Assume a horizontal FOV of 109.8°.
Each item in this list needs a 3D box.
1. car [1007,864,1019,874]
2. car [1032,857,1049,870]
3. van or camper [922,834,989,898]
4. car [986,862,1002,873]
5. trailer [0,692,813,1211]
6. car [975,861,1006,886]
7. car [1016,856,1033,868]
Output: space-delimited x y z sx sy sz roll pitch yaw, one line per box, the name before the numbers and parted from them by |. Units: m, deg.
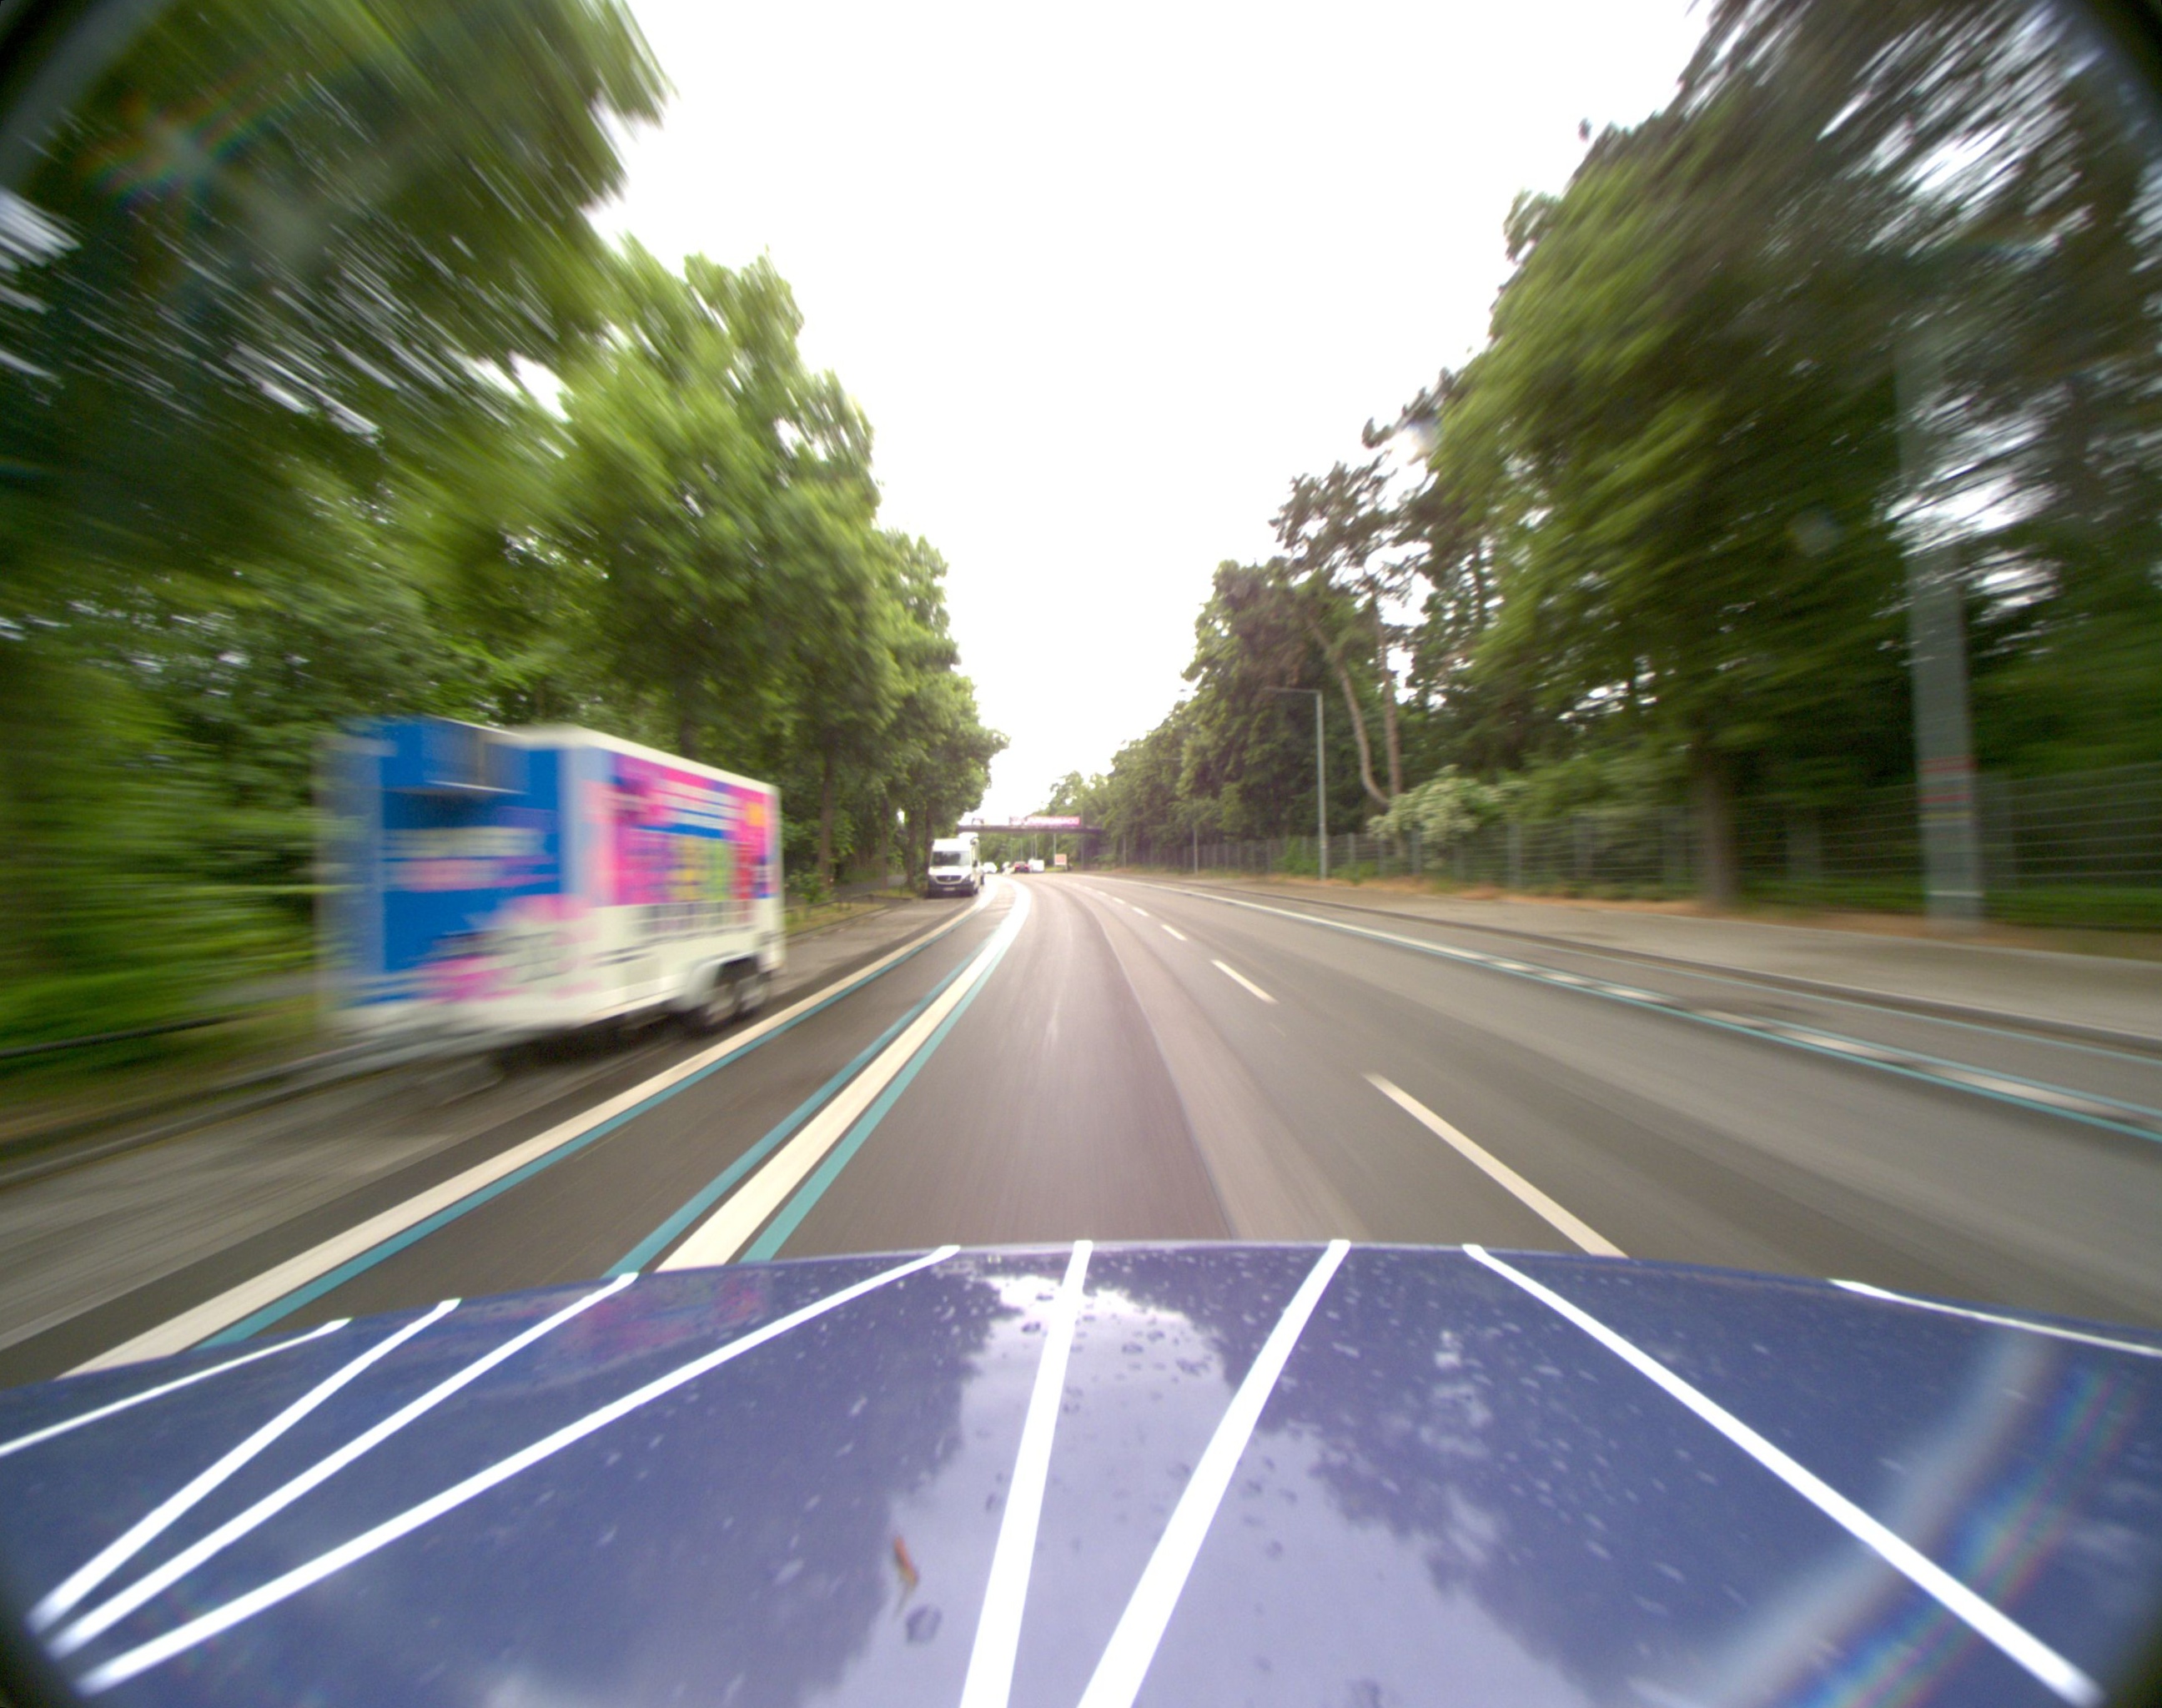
car | -14.536 3.186 161.843 1.879 1.965 4.732 0 -2 -12
car | -6.193 1.479 116.130 1.985 1.902 5.225 -1 -2 -8
van or camper | -5.763 0.504 35.708 2.323 2.649 6.380 -2 0 -3
car | -12.099 1.850 105.290 1.830 1.453 3.879 -2 -1 -11
trailer | -4.511 0.510 6.696 2.322 2.656 5.375 -2 0 -1
car | -5.703 1.200 47.677 1.684 1.368 3.996 -1 1 -9
car | -7.302 1.017 97.374 1.766 1.428 4.147 -2 0 -10
